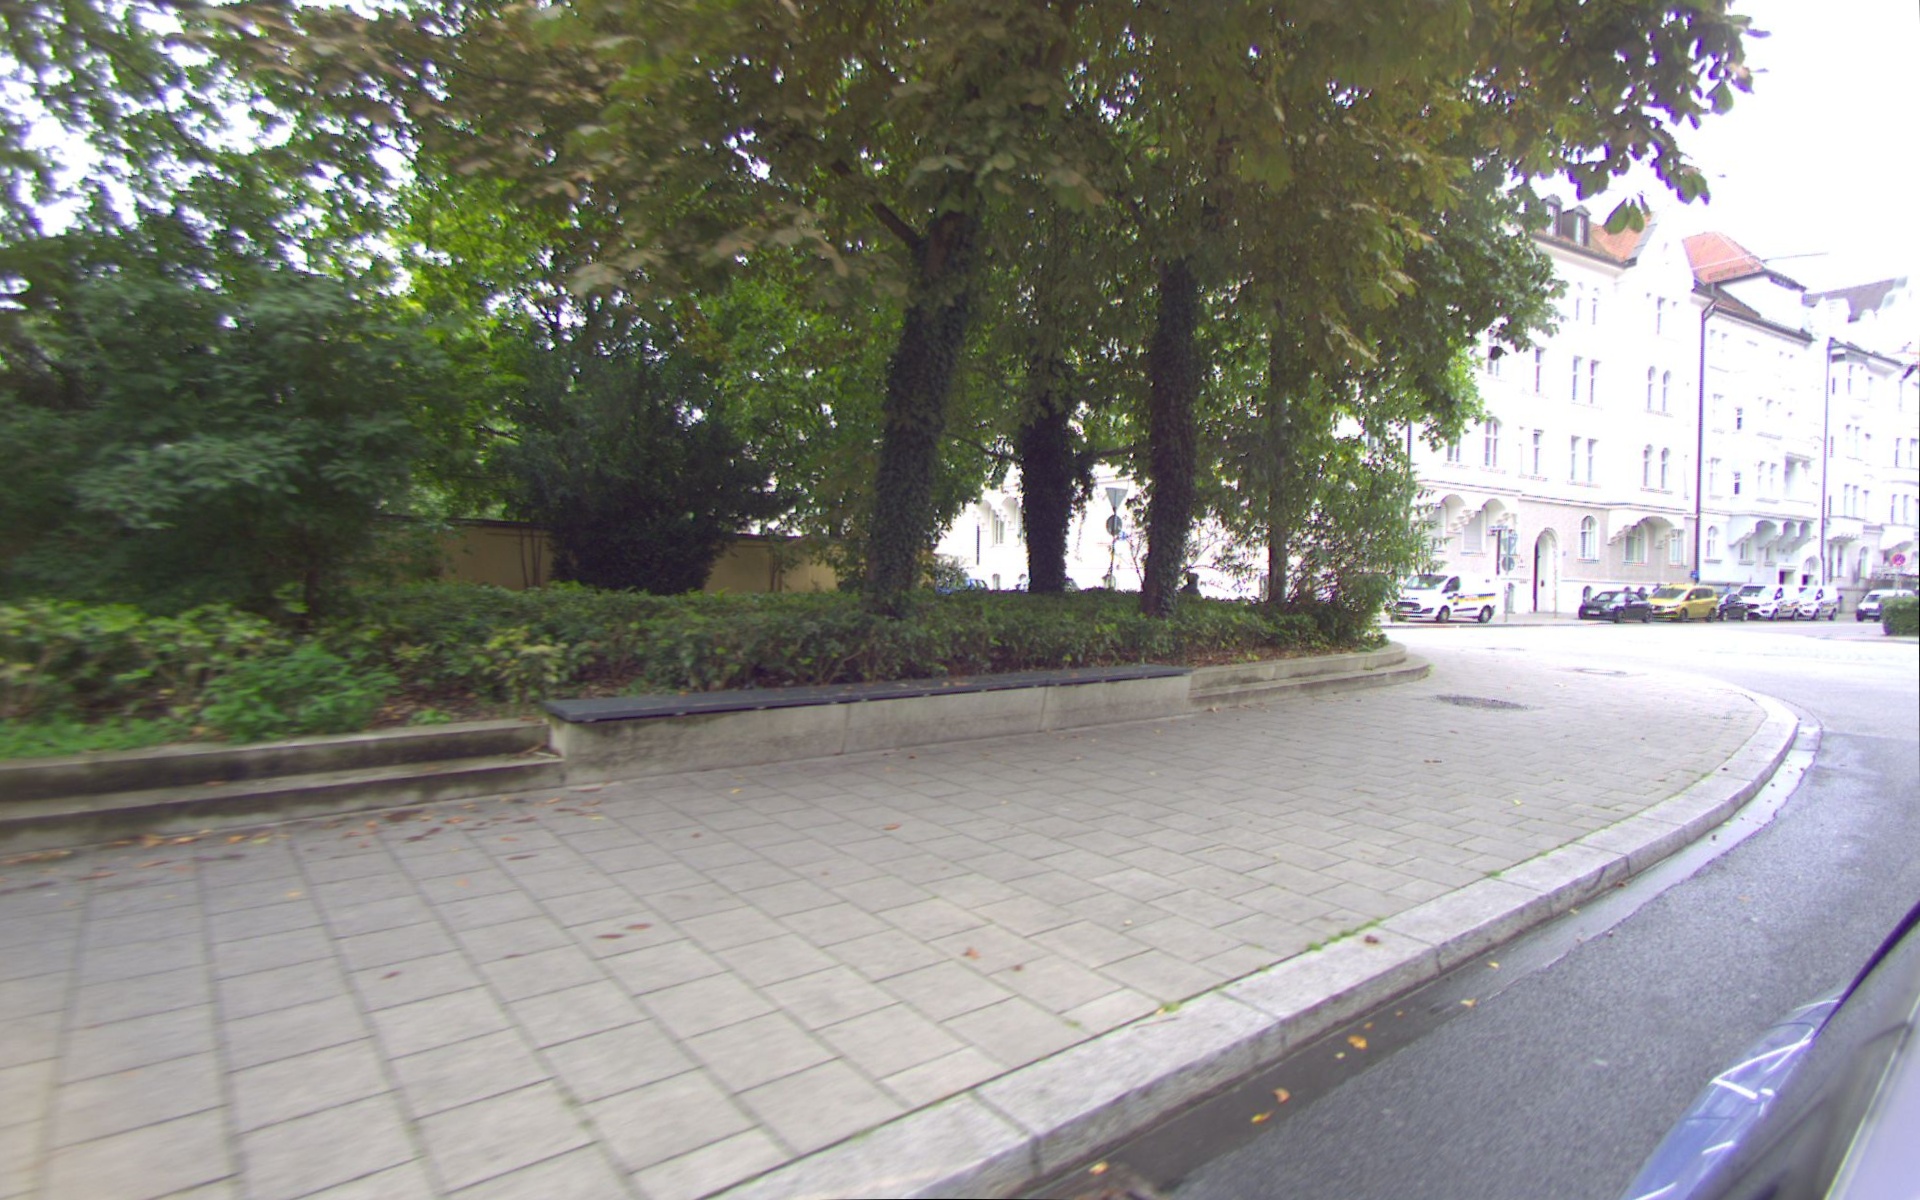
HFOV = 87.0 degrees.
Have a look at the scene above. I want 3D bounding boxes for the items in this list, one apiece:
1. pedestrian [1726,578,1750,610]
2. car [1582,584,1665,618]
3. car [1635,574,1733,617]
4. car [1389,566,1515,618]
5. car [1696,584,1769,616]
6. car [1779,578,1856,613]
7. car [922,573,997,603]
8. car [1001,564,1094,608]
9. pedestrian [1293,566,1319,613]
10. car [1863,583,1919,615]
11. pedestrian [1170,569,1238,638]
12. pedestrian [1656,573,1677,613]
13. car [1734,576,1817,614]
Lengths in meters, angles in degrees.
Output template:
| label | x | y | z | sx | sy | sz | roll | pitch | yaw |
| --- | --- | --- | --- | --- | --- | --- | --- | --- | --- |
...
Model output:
| label | x | y | z | sx | sy | sz | roll | pitch | yaw |
| --- | --- | --- | --- | --- | --- | --- | --- | --- | --- |
| pedestrian | 46.797 | -0.363 | 60.890 | 0.731 | 1.926 | 0.856 | 0 | 1 | -28 |
| car | 30.267 | 0.012 | 46.155 | 3.751 | 1.463 | 1.720 | 0 | 2 | -31 |
| car | 34.901 | -0.229 | 48.768 | 4.478 | 1.942 | 2.003 | 0 | 1 | -28 |
| car | 19.554 | -0.321 | 40.167 | 5.269 | 1.945 | 1.947 | 0 | 2 | -32 |
| car | 39.450 | -0.010 | 51.660 | 3.808 | 1.533 | 1.640 | 0 | 1 | -31 |
| car | 49.144 | -0.268 | 57.972 | 4.782 | 1.942 | 2.002 | 0 | 1 | -33 |
| car | -0.067 | -0.622 | 51.084 | 1.855 | 1.422 | 4.255 | 0 | 2 | -32 |
| car | 3.734 | -0.635 | 44.000 | 1.855 | 1.818 | 4.255 | 0 | 2 | -32 |
| pedestrian | 13.636 | -0.422 | 39.889 | 0.918 | 1.823 | 0.994 | 1 | 1 | 19 |
| car | 52.117 | -0.047 | 56.200 | 4.514 | 1.678 | 1.921 | 0 | 2 | -35 |
| pedestrian | 5.026 | 0.065 | 20.845 | 1.109 | 1.373 | 0.772 | 0 | 1 | -30 |
| pedestrian | 36.227 | -0.350 | 51.904 | 0.713 | 2.039 | 0.586 | 1 | 1 | -29 |
| car | 44.058 | -0.262 | 54.645 | 4.790 | 1.942 | 2.002 | 0 | 1 | -32 |
